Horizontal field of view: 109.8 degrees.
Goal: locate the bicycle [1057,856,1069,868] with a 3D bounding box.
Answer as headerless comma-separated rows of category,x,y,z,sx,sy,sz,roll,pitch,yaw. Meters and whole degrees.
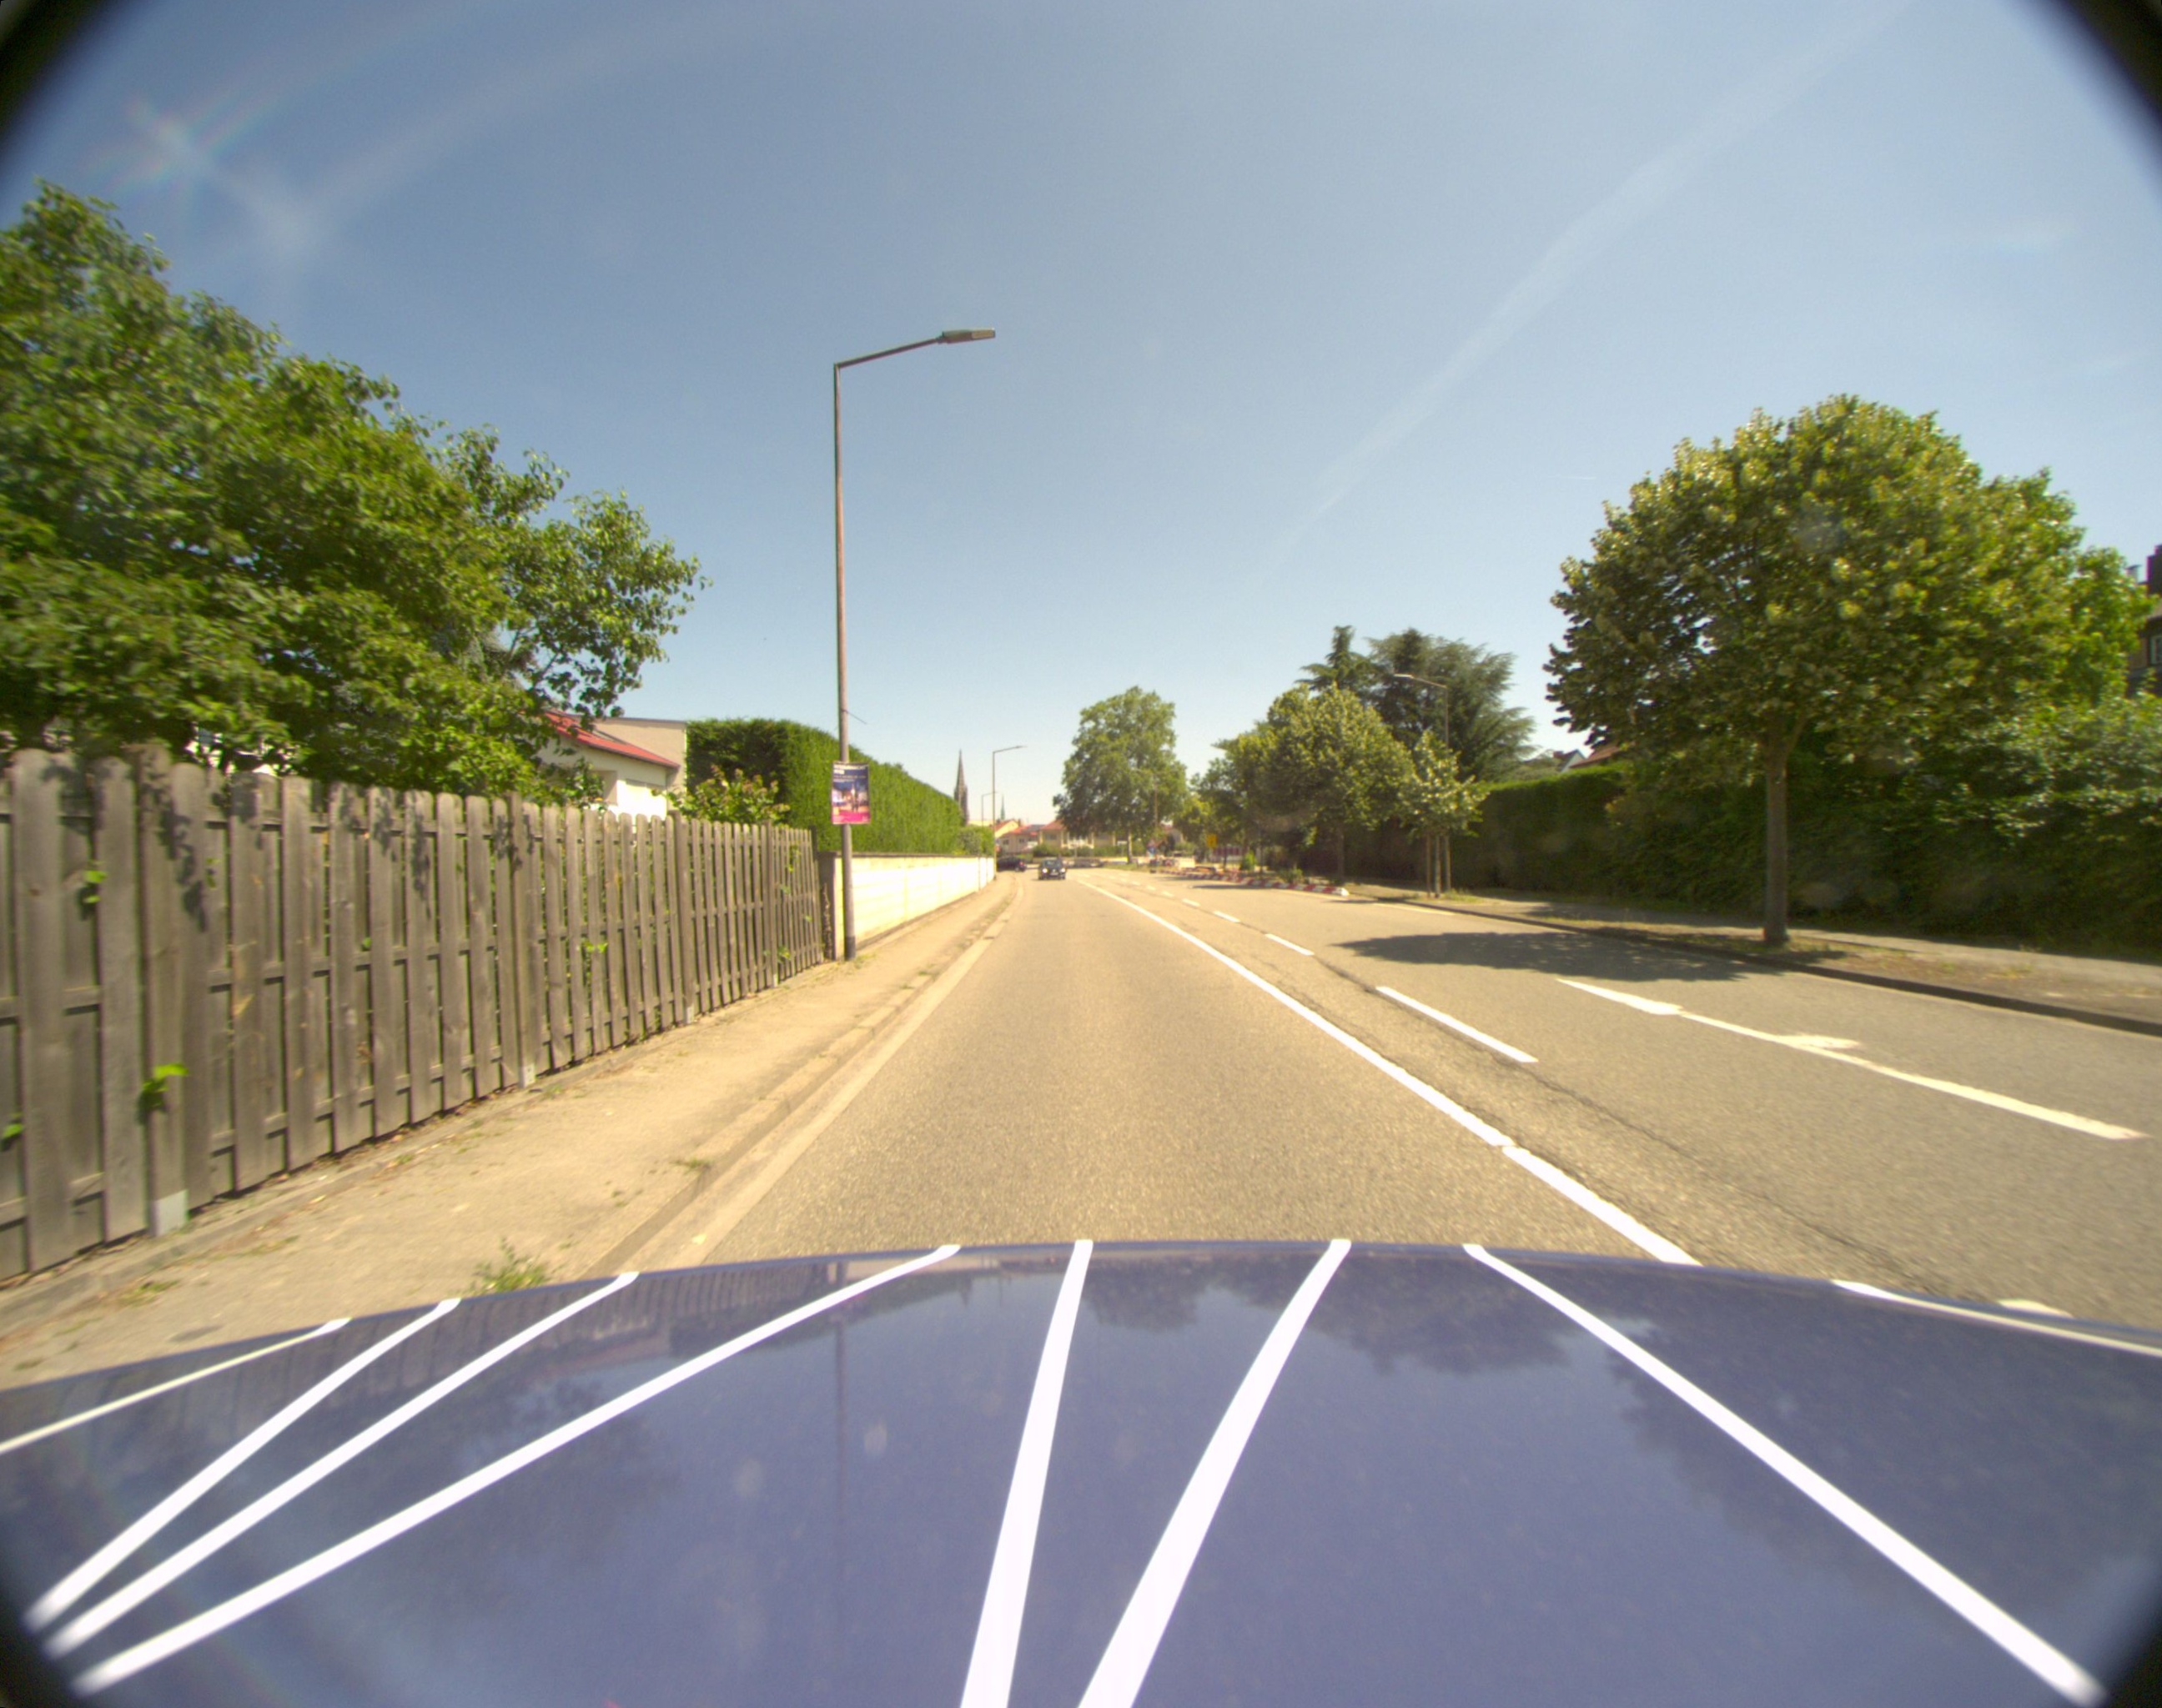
bicycle,-1.688,0.754,71.684,0.853,1.159,1.976,-2,-1,-8

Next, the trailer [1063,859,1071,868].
trailer,-1.321,0.866,70.156,0.572,0.851,1.132,-2,-1,-8

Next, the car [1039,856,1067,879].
car,-1.959,0.900,52.999,1.608,1.436,3.906,-2,0,-7

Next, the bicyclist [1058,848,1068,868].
bicyclist,-1.698,0.413,71.701,0.848,1.854,0.976,-1,-1,-8
